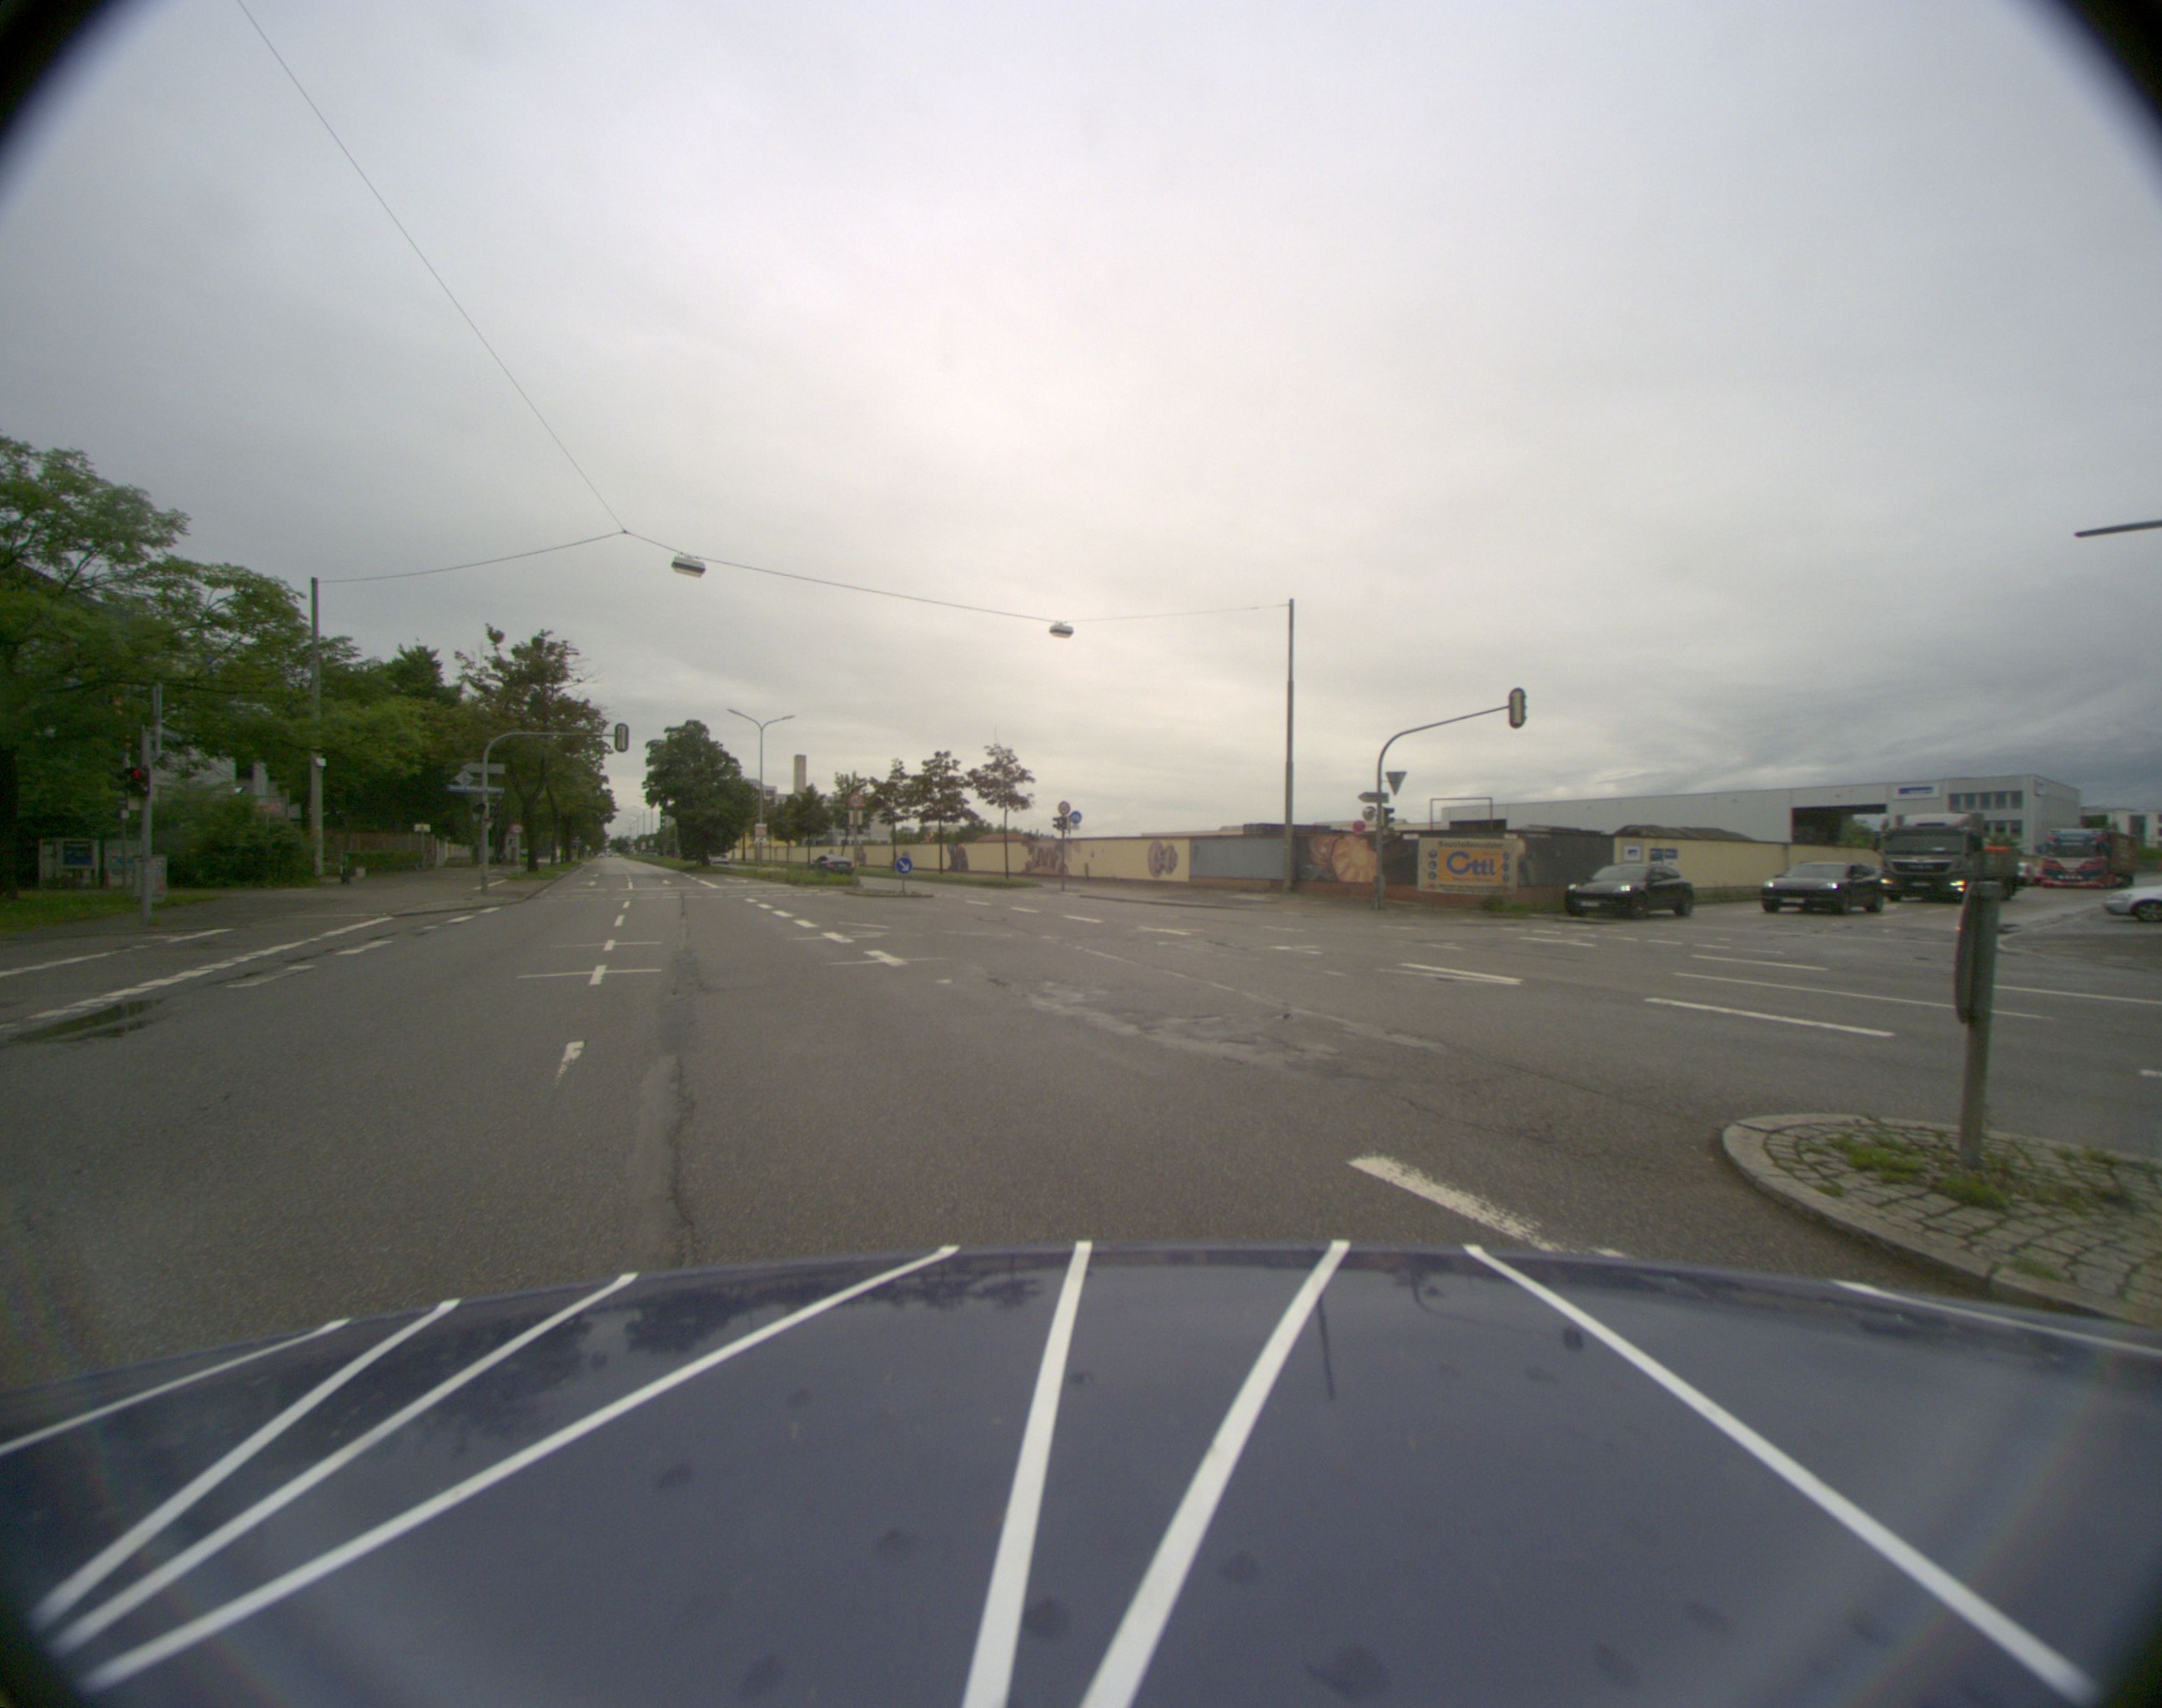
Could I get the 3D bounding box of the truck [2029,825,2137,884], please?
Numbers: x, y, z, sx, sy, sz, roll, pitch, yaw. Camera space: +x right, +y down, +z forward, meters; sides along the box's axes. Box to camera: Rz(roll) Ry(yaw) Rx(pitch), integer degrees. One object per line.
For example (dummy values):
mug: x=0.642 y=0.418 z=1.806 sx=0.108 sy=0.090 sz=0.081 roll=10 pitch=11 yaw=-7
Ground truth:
truck: x=70.204 y=0.036 z=53.145 sx=11.955 sy=3.809 sz=2.872 roll=0 pitch=1 yaw=-29

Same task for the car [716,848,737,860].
car: x=-48.225 y=-0.003 z=103.252 sx=1.888 sy=1.459 sz=4.490 roll=2 pitch=-1 yaw=-34

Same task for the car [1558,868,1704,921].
car: x=16.757 y=1.162 z=23.125 sx=4.271 sy=1.419 sz=1.995 roll=0 pitch=0 yaw=-29

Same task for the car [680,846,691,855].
car: x=-77.790 y=-0.603 z=149.402 sx=1.492 sy=1.705 sz=3.541 roll=2 pitch=0 yaw=-33

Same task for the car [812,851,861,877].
car: x=-15.414 y=0.610 z=47.797 sx=1.921 sy=1.498 sz=4.428 roll=2 pitch=-1 yaw=-32

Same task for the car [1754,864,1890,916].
car: x=24.552 y=1.114 z=25.150 sx=4.640 sy=1.524 sz=1.995 roll=0 pitch=0 yaw=-29

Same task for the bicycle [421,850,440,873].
bicycle: x=-38.591 y=0.424 z=45.093 sx=0.585 sy=1.288 sz=2.448 roll=2 pitch=0 yaw=-34

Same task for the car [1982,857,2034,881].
car: x=69.606 y=1.131 z=57.028 sx=4.111 sy=1.696 sz=1.868 roll=2 pitch=0 yaw=-31

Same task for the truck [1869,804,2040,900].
truck: x=39.609 y=-0.077 z=34.277 sx=11.955 sy=3.833 sz=2.603 roll=0 pitch=1 yaw=-29

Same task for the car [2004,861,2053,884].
car: x=75.902 y=1.487 z=60.844 sx=4.111 sy=1.696 sz=1.868 roll=2 pitch=0 yaw=-31

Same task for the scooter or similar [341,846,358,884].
scooter or similar: x=-27.915 y=0.425 z=28.983 sx=1.401 sy=1.415 sz=0.372 roll=1 pitch=0 yaw=43

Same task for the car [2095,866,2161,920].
car: x=30.976 y=1.118 z=20.672 sx=1.632 sy=1.477 sz=3.967 roll=2 pitch=-1 yaw=-34
